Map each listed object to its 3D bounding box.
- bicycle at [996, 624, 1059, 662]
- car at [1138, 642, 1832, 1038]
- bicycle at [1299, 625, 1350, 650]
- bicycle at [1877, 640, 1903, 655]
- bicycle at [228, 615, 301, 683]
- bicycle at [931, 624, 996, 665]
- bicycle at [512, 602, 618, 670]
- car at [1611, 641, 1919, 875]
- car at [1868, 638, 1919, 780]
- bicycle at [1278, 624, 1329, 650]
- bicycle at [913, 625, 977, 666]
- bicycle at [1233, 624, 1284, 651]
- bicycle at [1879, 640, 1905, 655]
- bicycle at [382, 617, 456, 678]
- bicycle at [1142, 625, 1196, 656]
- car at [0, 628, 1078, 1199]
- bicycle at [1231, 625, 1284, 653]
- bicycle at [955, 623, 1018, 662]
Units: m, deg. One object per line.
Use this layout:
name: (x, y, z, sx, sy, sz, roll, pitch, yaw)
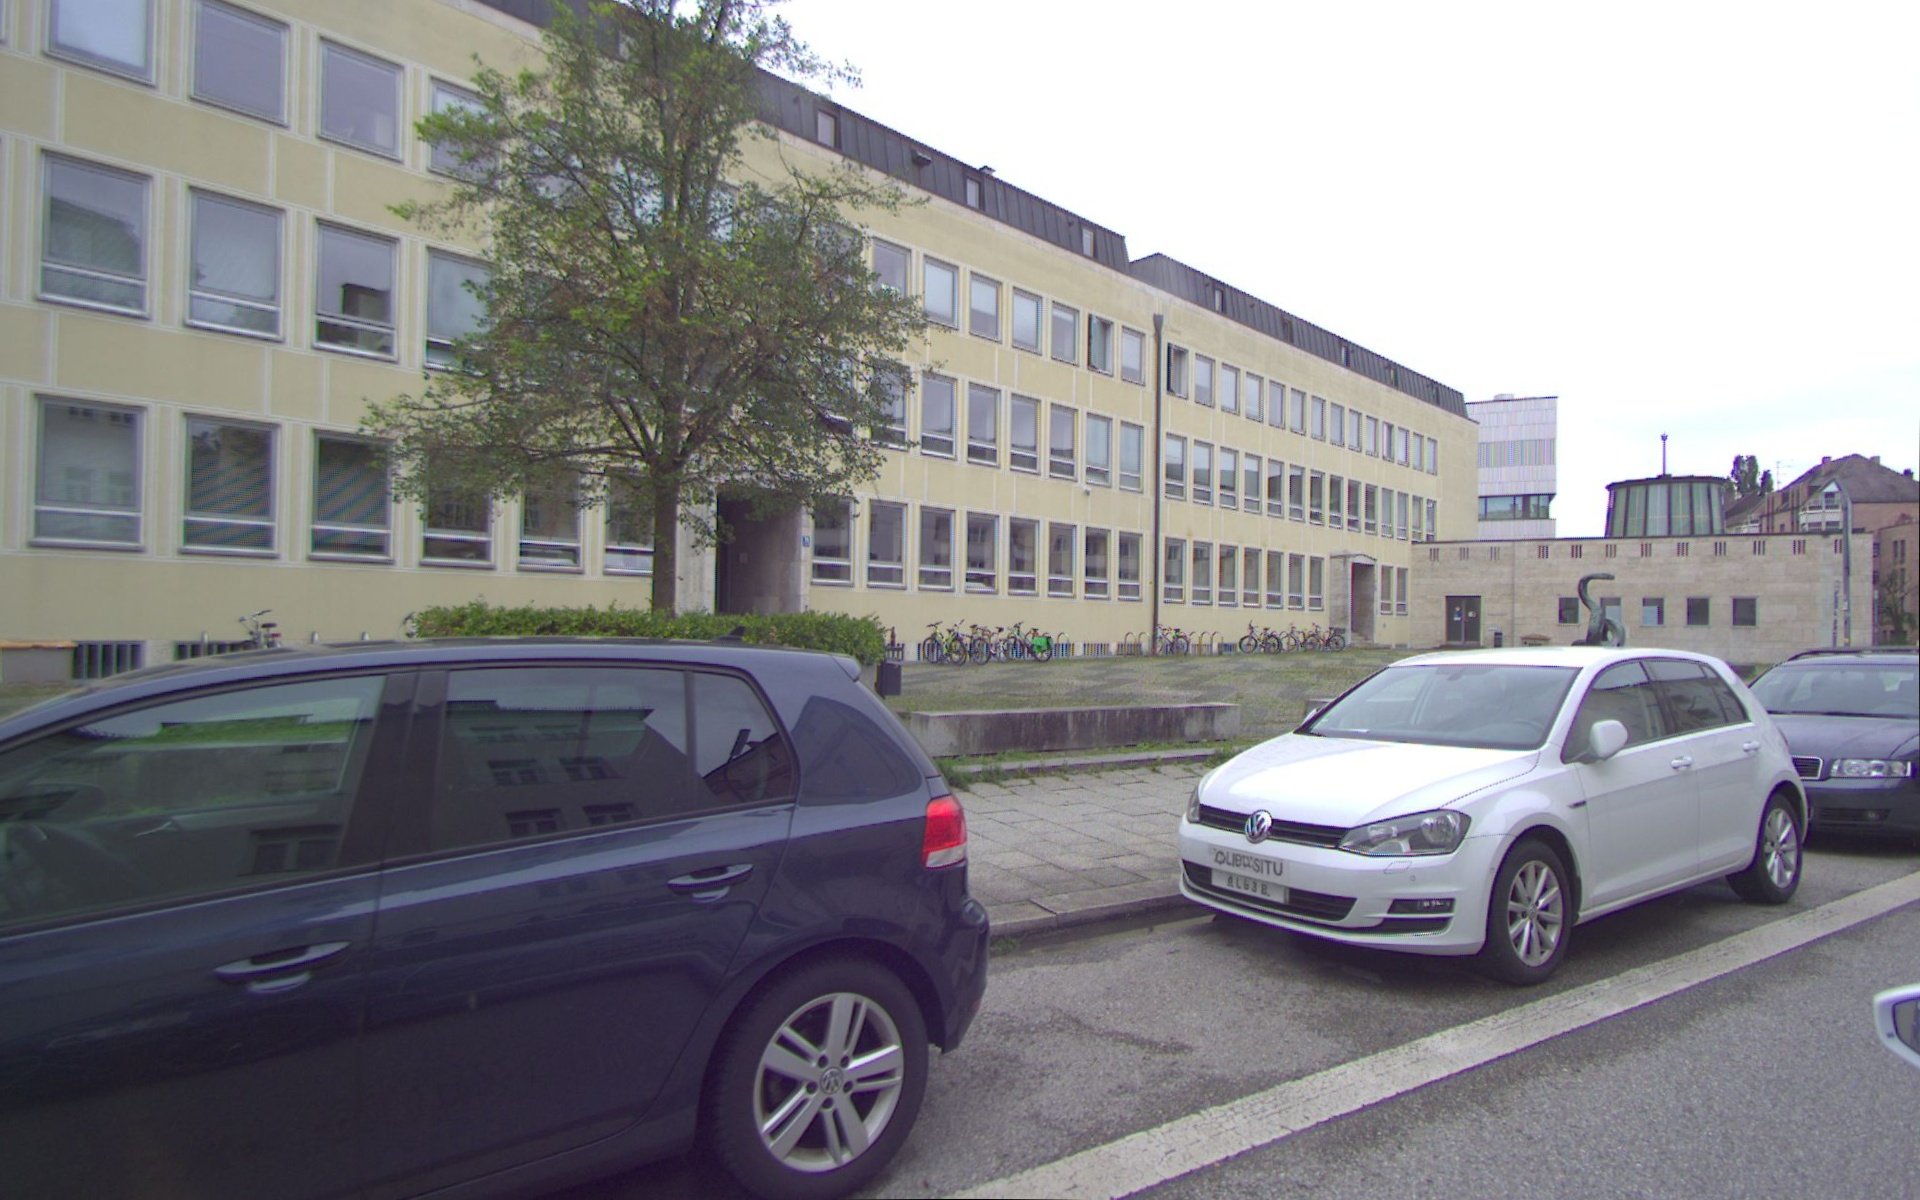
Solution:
bicycle: (1.944, 1.243, 29.329, 0.621, 1.028, 1.928, 1, -1, -43)
car: (3.043, 0.974, 5.567, 4.029, 1.472, 1.647, 2, -3, -33)
bicycle: (15.408, 1.572, 42.511, 1.923, 1.028, 0.623, 0, -1, 40)
bicycle: (88.802, 4.537, 95.927, 1.728, 1.305, 0.552, 1, -1, 30)
bicycle: (-11.447, 0.780, 16.513, 1.926, 1.028, 0.622, 0, -1, 44)
bicycle: (0.082, 1.193, 27.385, 0.621, 1.028, 1.928, 1, -1, -43)
bicycle: (-7.874, 0.692, 19.982, 2.409, 1.265, 1.050, 0, -1, 44)
car: (7.396, 1.082, 8.258, 4.347, 1.472, 1.746, 2, -3, -32)
car: (11.535, 1.151, 10.940, 3.277, 1.472, 1.647, 2, -3, -33)
bicycle: (14.251, 1.536, 41.702, 0.621, 1.028, 1.928, 1, -1, -43)
bicycle: (-0.415, 1.195, 26.716, 0.620, 1.028, 1.930, 1, -1, -39)
bicycle: (11.826, 1.477, 39.800, 0.620, 1.028, 1.931, 1, -1, -39)
bicycle: (88.471, 4.494, 95.349, 1.728, 1.305, 0.552, 1, -1, 30)
bicycle: (-9.861, 0.845, 18.289, 1.926, 1.028, 0.622, 0, -1, 44)
bicycle: (7.312, 1.413, 35.261, 0.619, 1.028, 1.933, 1, -1, -36)
car: (-1.729, 0.827, 2.661, 3.932, 1.472, 1.647, 2, -3, -33)
bicycle: (11.517, 1.494, 38.913, 1.926, 1.028, 0.622, 0, -1, 44)
bicycle: (0.745, 1.197, 28.476, 0.621, 1.028, 1.928, 1, -1, -43)
